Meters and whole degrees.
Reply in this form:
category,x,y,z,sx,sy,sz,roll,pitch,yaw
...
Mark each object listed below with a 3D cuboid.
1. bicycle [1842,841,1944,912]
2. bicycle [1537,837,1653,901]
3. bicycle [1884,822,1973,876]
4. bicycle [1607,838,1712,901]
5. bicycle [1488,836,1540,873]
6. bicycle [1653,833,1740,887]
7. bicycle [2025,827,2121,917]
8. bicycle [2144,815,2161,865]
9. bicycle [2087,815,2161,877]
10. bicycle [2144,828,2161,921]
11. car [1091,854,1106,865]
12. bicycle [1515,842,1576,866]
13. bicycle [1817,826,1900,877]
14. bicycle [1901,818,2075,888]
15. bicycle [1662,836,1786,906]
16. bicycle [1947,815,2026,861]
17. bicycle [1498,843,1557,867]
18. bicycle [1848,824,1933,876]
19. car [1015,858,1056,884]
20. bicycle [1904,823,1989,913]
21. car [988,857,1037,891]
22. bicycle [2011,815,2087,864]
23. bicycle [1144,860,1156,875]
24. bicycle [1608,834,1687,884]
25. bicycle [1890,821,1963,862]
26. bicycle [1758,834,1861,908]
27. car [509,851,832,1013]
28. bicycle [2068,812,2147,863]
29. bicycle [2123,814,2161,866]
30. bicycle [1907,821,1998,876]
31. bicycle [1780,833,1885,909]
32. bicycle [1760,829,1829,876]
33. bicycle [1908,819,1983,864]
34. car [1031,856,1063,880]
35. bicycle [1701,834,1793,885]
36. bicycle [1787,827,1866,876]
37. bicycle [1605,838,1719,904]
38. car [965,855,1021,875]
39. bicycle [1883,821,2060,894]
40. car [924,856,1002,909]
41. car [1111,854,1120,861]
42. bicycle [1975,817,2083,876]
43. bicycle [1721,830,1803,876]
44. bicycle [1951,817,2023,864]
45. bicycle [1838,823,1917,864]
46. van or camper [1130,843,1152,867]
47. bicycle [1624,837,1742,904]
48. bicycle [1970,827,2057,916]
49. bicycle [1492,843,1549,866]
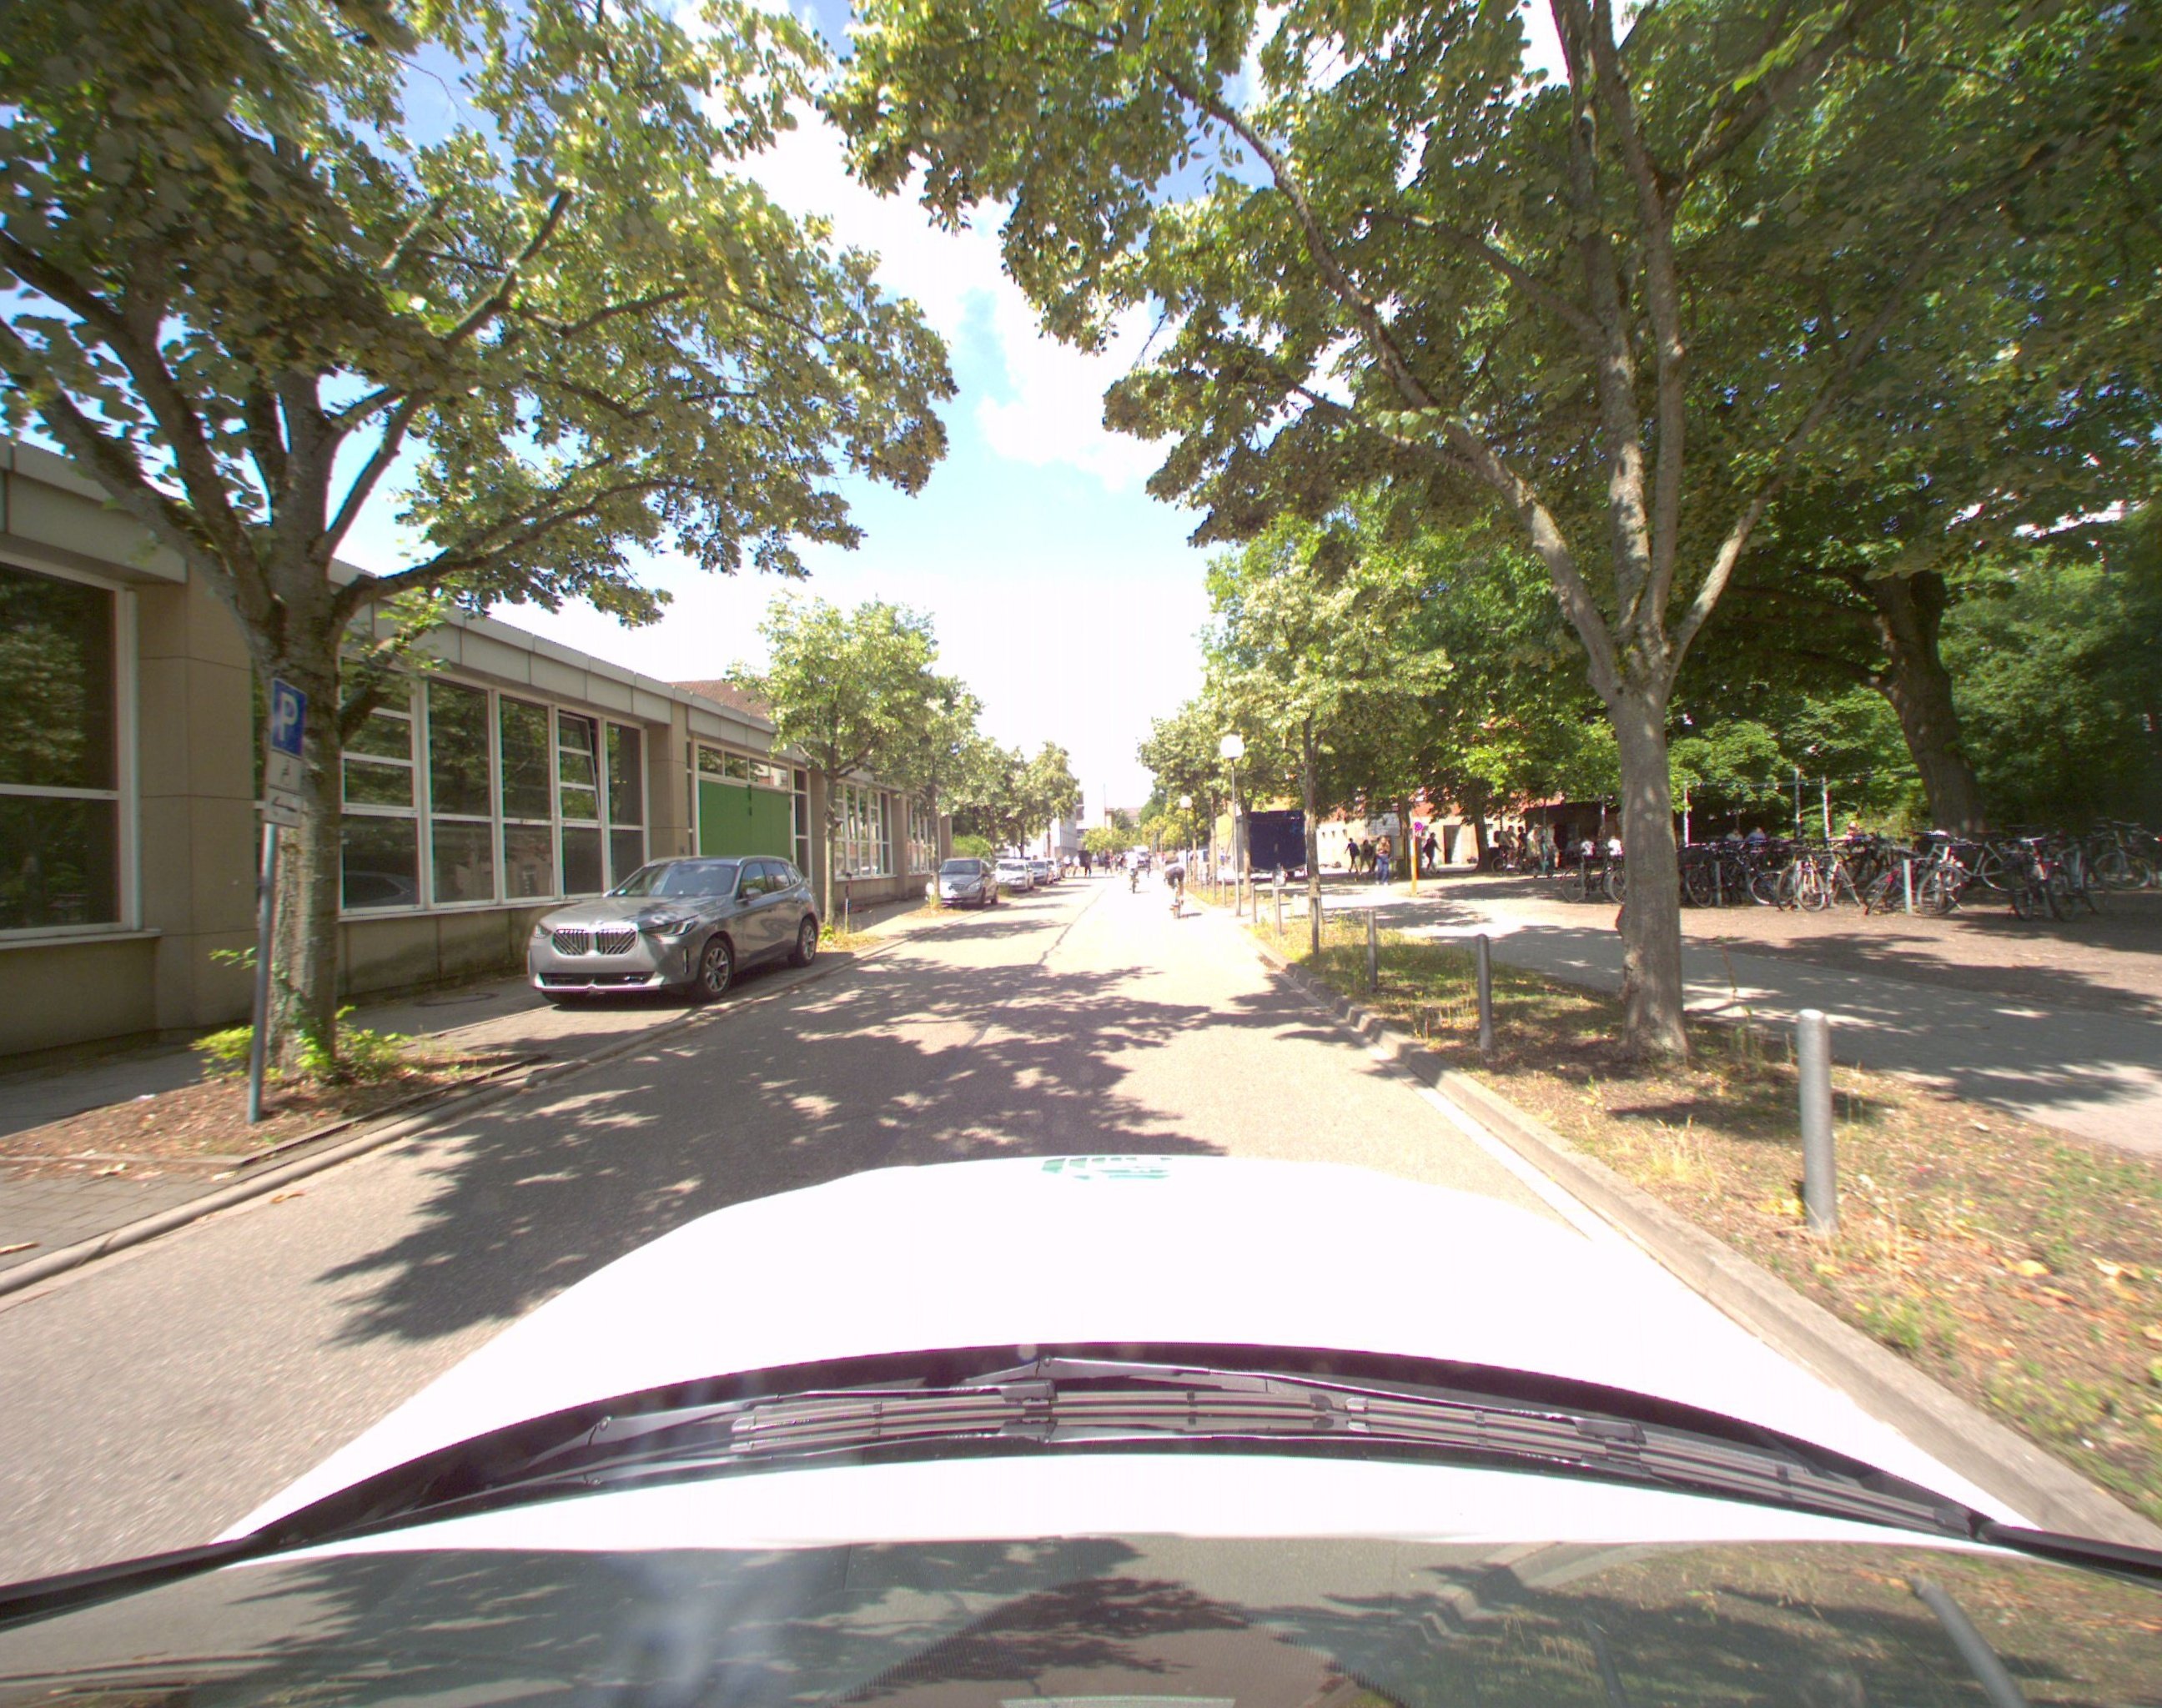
category,x,y,z,sx,sy,sz,roll,pitch,yaw
bicycle,11.810,0.314,11.836,1.742,0.909,0.490,-3,0,-26
bicycle,10.351,0.287,16.429,2.013,1.167,0.650,-3,0,-9
bicycle,17.083,-0.103,16.401,1.904,0.979,0.475,-3,-1,-20
bicycle,10.890,0.290,15.333,1.766,1.082,0.437,-3,0,-9
bicycle,15.369,0.030,28.953,0.531,1.252,1.727,-4,0,-17
bicycle,14.261,0.140,18.873,1.903,1.118,0.609,-3,-1,-19
bicycle,12.652,0.209,10.376,1.802,1.028,0.436,-3,0,-29
bicycle,23.299,-0.334,17.182,1.752,1.039,0.475,-3,-1,-18
bicycle,18.314,-0.148,14.295,1.910,0.979,0.531,-3,-1,-31
bicycle,12.994,0.202,9.537,1.798,1.028,0.378,-3,0,-29
car,2.701,0.813,123.609,1.785,1.530,4.009,-3,0,8
bicycle,22.039,0.000,38.720,2.378,1.072,0.786,-1,-1,15
bicycle,16.689,-0.051,17.466,1.903,0.979,0.419,-3,-1,-19
bicycle,15.172,0.001,13.704,0.478,1.082,1.893,-3,0,-17
bicycle,10.925,0.281,13.844,1.943,1.082,0.403,-3,0,-9
bicycle,22.642,-0.408,20.366,1.958,1.039,0.476,-4,-1,-16
bicycle,21.856,0.061,39.888,2.381,1.072,0.785,-3,-1,10
bicycle,16.989,-0.092,17.084,1.903,0.979,0.419,-3,-1,-19
car,-2.498,0.915,46.008,1.717,1.343,4.171,0,0,5
bicycle,12.232,0.177,11.497,1.745,1.155,0.489,-3,0,-33
car,-3.065,0.863,37.398,1.718,1.456,4.585,0,0,2
bicycle,22.829,-0.335,19.204,1.783,1.039,0.475,-3,-1,-18
bicycle,4.831,0.952,57.004,0.804,1.002,2.126,-2,-1,4
bicycle,13.955,0.121,20.063,1.809,1.118,0.609,-3,-1,-19
bicycle,22.310,-0.334,21.475,1.958,0.979,0.436,-4,-1,-16
bicycle,11.591,0.256,12.950,1.914,1.059,0.323,-3,0,-20
car,-4.888,0.806,10.570,1.815,1.632,4.518,0,0,1
bicycle,23.232,-0.380,18.428,1.831,1.039,0.475,-3,-1,-18
bicycle,23.188,-0.328,17.522,1.752,1.039,0.346,-3,-1,-18
bicycle,17.163,-0.112,16.033,1.904,0.979,0.475,-3,-1,-20
bicycle,11.692,0.250,12.658,1.914,1.059,0.323,-3,0,-20
bicycle,16.496,-0.046,18.815,1.907,0.979,0.418,-3,-1,-25
bicycle,22.320,-0.330,21.024,1.958,1.039,0.432,-4,-1,-16
car,-2.145,0.848,52.095,1.655,1.412,3.810,-1,0,3
bicycle,14.552,0.119,17.794,1.903,0.979,0.609,-3,0,-19
bicycle,16.641,-0.053,18.177,1.905,0.979,0.475,-3,-1,-22
bicycle,10.666,0.303,14.951,1.943,1.082,0.403,-3,0,-9
car,-7.465,0.955,69.375,4.484,1.619,1.927,0,-1,5
bicycle,14.418,0.066,13.269,0.478,1.082,1.893,-3,0,-17
car,-3.692,0.852,26.098,1.750,1.556,4.115,0,0,2
car,8.084,0.828,189.966,1.785,1.530,4.009,-3,0,8
bicycle,17.658,-0.147,15.174,1.903,0.979,0.609,-3,0,-19
bicycle,16.226,-0.026,19.410,1.902,0.979,0.476,-4,-1,-16
bicycle,22.004,-0.332,19.775,1.783,1.039,0.432,-3,-1,-18
bicycle,21.724,-0.285,22.213,1.958,0.979,0.609,-4,0,-16
van or camper,6.422,0.128,86.472,1.983,2.446,4.577,-3,-1,6
bicycle,10.734,0.282,14.527,1.943,1.082,0.403,-3,0,-9
bicycle,12.266,0.207,10.698,1.745,1.052,0.489,-3,0,-33
bicycle,21.999,0.039,40.798,2.378,1.072,0.786,-3,-1,16
